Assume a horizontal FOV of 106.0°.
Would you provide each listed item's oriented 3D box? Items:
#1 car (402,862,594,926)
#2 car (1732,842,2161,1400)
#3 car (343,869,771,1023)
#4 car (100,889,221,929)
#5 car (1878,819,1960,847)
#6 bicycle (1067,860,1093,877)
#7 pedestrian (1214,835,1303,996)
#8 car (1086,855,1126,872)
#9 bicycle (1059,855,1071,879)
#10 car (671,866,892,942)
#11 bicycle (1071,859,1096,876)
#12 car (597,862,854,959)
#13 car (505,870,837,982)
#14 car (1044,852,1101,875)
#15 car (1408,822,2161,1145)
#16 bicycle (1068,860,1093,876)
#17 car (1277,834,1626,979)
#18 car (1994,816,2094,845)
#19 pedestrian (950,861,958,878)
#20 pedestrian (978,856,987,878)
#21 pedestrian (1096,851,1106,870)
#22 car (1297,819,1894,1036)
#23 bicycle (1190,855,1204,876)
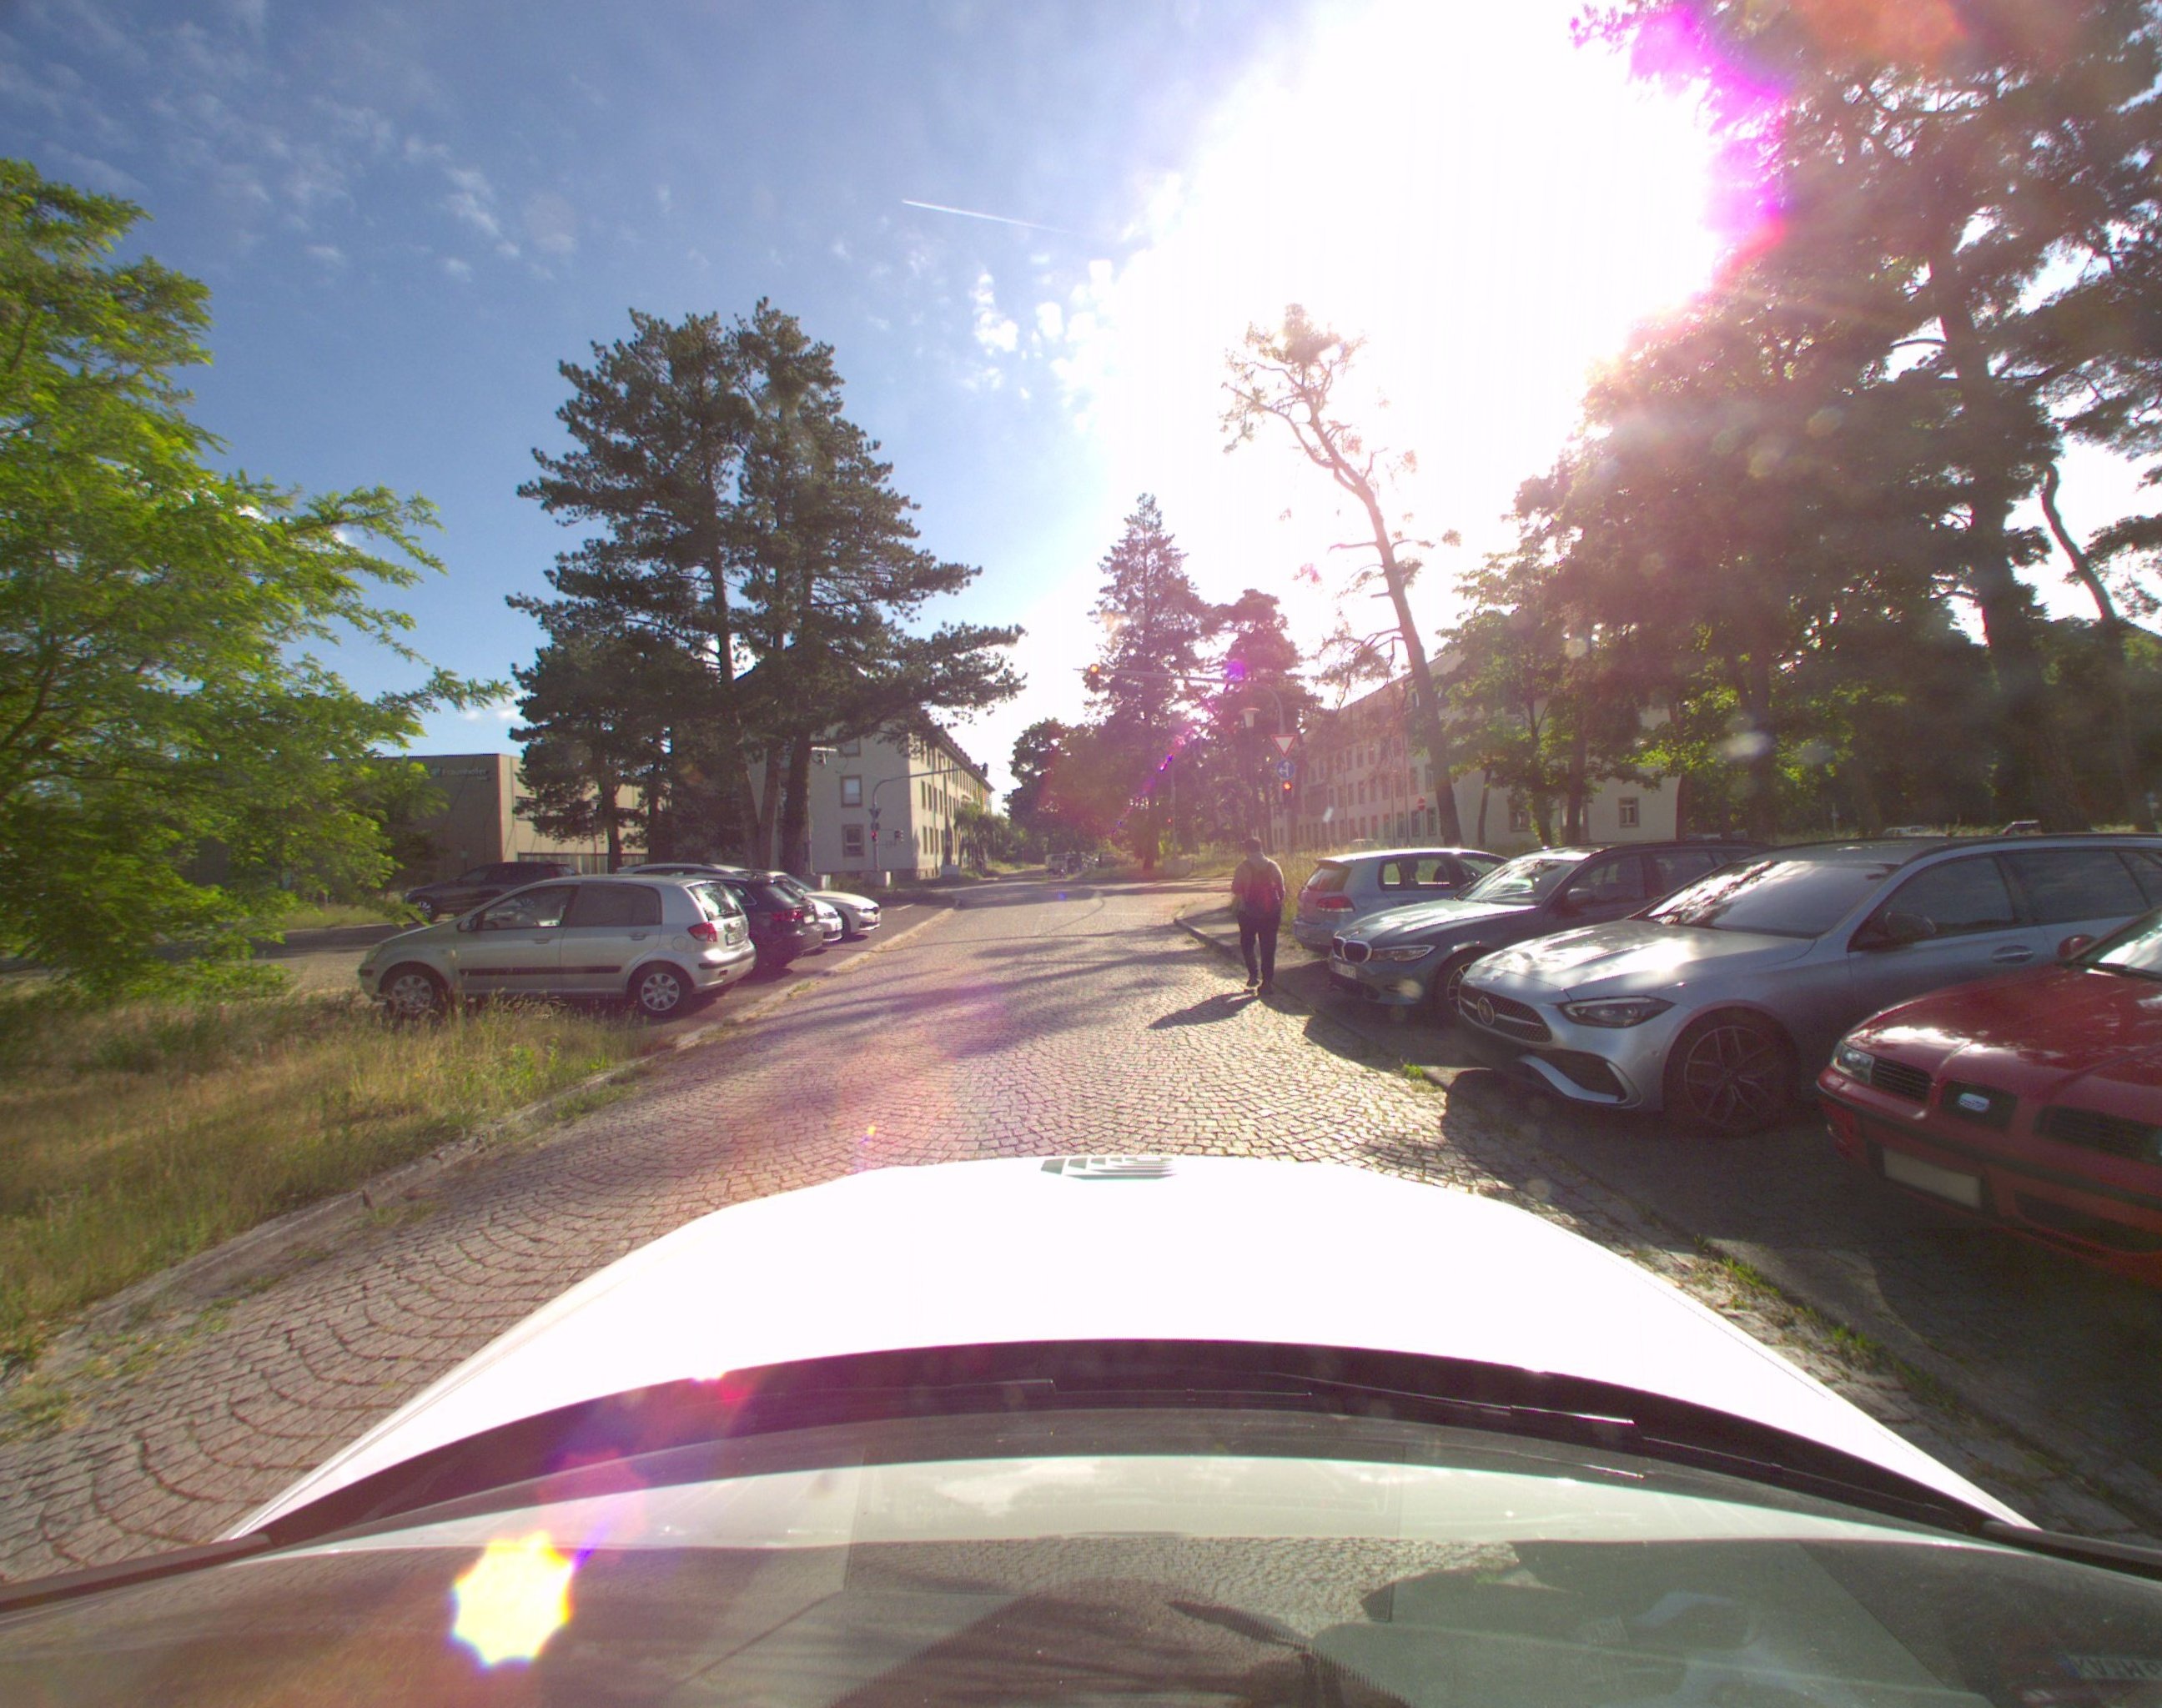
[{"bbox_3d":[-17.142,1.135,24.109,4.132,1.608,2.009,-2,0,-1],"label":"car"},{"bbox_3d":[4.903,0.672,2.843,3.969,1.448,1.654,-3,0,-3],"label":"car"},{"bbox_3d":[-5.667,0.949,9.221,3.678,1.527,1.697,0,0,-4],"label":"car"},{"bbox_3d":[-49.421,2.911,43.874,1.858,1.778,4.003,-2,0,1],"label":"car"},{"bbox_3d":[56.158,-1.419,54.612,3.623,1.671,1.767,-2,0,0],"label":"car"},{"bbox_3d":[-0.086,1.043,59.205,1.831,1.112,0.494,-2,0,-6],"label":"bicycle"},{"bbox_3d":[1.993,0.669,9.261,0.751,1.725,0.828,2,-1,-2],"label":"pedestrian"},{"bbox_3d":[2.498,0.932,81.039,3.743,1.580,1.736,-2,0,-9],"label":"car"},{"bbox_3d":[-1.098,0.875,56.124,0.751,1.580,2.535,-2,0,-2],"label":"bicycle"},{"bbox_3d":[-6.223,1.014,17.224,3.970,1.496,1.774,0,0,3],"label":"car"},{"bbox_3d":[0.186,0.999,60.441,1.725,1.164,0.560,-2,0,-6],"label":"bicycle"},{"bbox_3d":[-6.242,0.962,14.632,3.871,1.615,1.659,0,0,-3],"label":"car"},{"bbox_3d":[-5.783,1.006,11.878,3.928,1.445,1.689,1,0,-3],"label":"car"},{"bbox_3d":[-0.791,0.884,77.080,5.069,1.918,1.992,-2,0,-11],"label":"car"},{"bbox_3d":[4.634,0.634,5.126,4.389,1.388,1.787,-4,0,-3],"label":"car"},{"bbox_3d":[-0.031,1.042,59.751,1.725,1.112,0.483,-2,0,-6],"label":"bicycle"},{"bbox_3d":[4.582,0.615,10.430,3.664,1.443,1.664,-4,0,-2],"label":"car"},{"bbox_3d":[55.600,-1.339,47.063,3.623,1.497,1.767,-2,0,0],"label":"car"},{"bbox_3d":[-11.322,1.377,72.729,0.606,1.560,0.543,-2,0,-8],"label":"pedestrian"},{"bbox_3d":[-8.210,1.074,68.061,0.608,1.752,0.627,-2,0,-17],"label":"pedestrian"},{"bbox_3d":[1.886,0.619,75.637,0.759,1.783,0.682,-2,0,-9],"label":"pedestrian"},{"bbox_3d":[4.691,0.603,7.861,4.611,1.455,1.867,-5,0,-4],"label":"car"},{"bbox_3d":[6.786,0.659,47.554,0.717,1.115,2.589,-2,0,8],"label":"bicycle"}]
